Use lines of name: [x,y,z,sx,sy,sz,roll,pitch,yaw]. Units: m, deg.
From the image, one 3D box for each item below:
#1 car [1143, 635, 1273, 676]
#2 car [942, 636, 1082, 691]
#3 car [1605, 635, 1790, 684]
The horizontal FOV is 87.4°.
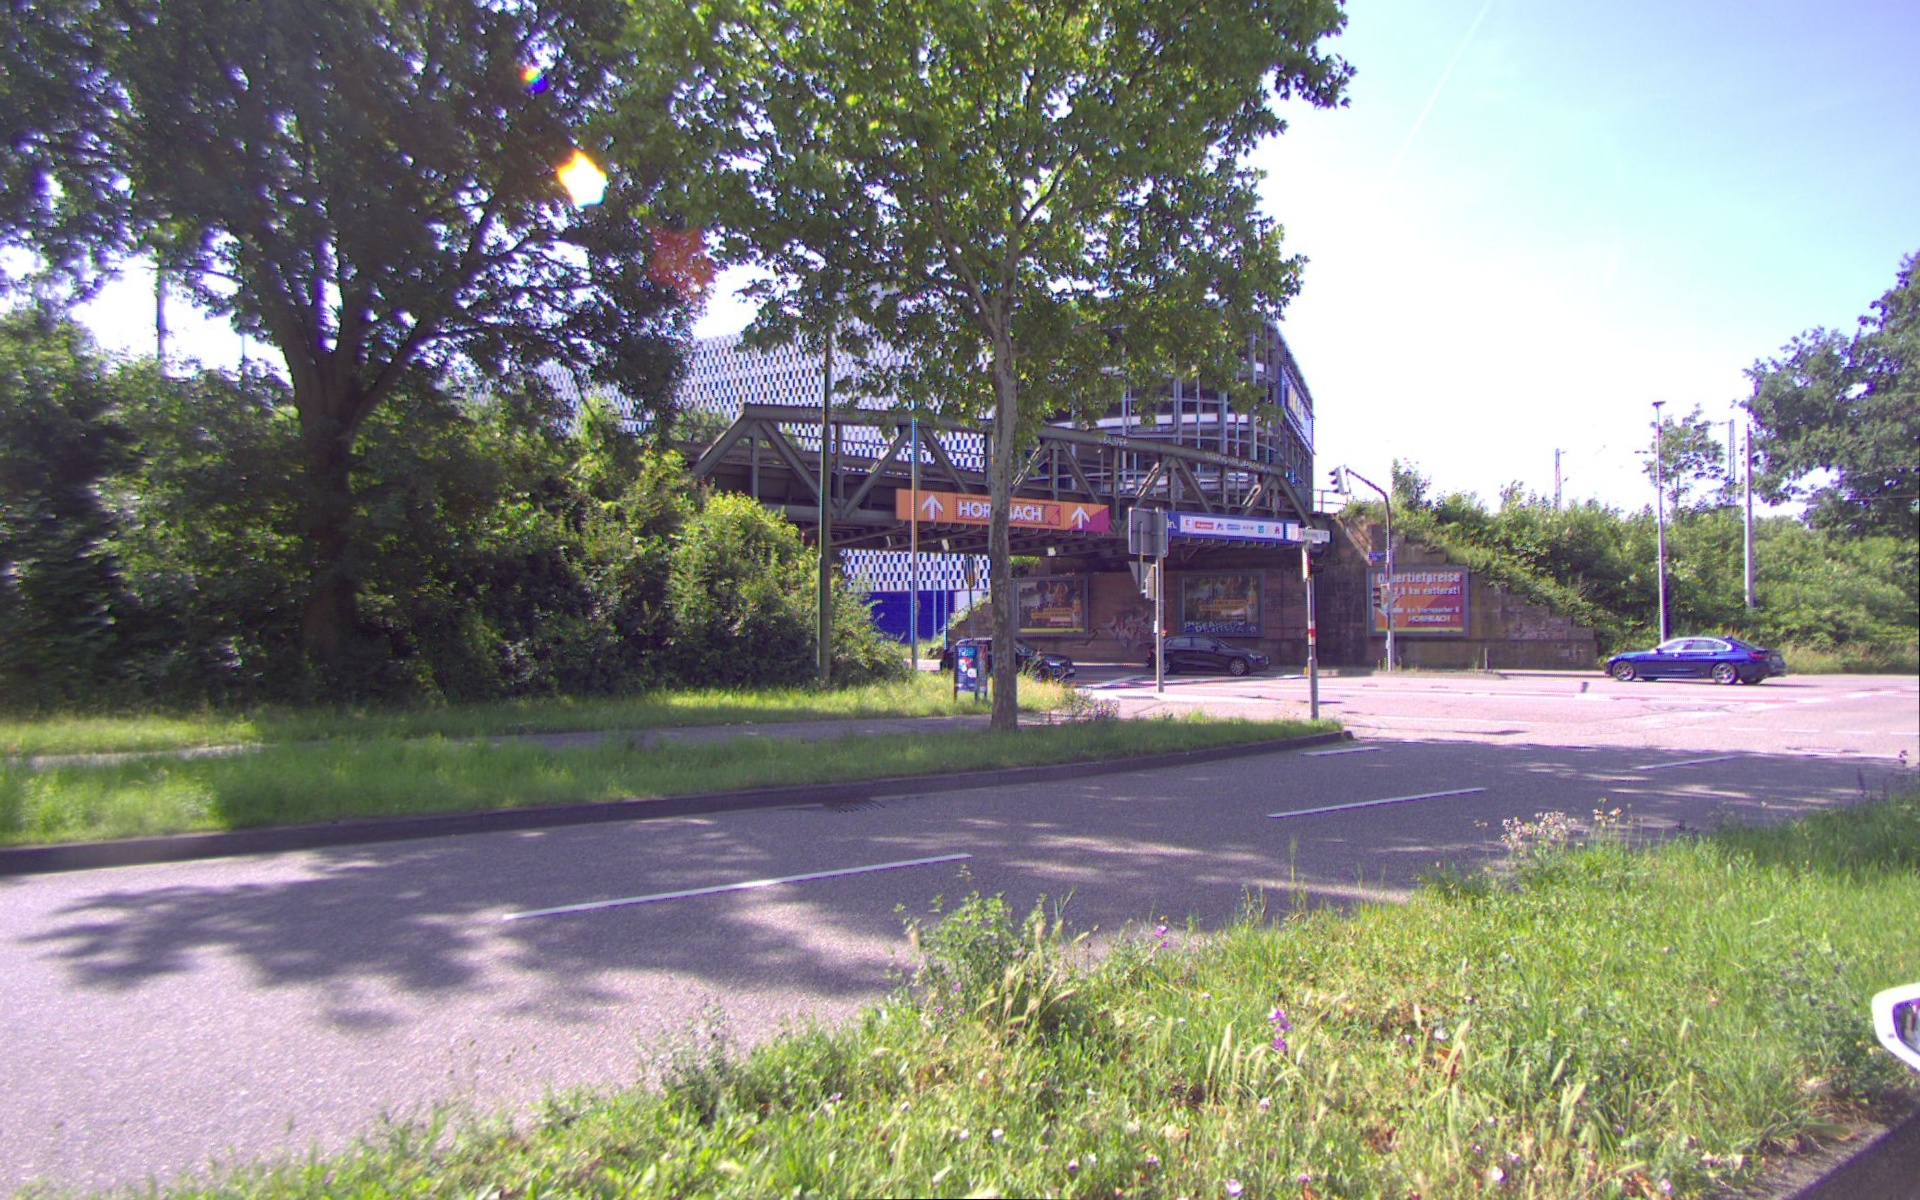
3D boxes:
car: [8.808,1.946,35.721,4.253,1.413,1.770,-1,-2,24]
car: [1.594,1.892,30.680,3.869,1.500,1.822,0,-1,25]
car: [22.770,1.797,31.180,1.773,1.415,4.286,1,-2,-33]
